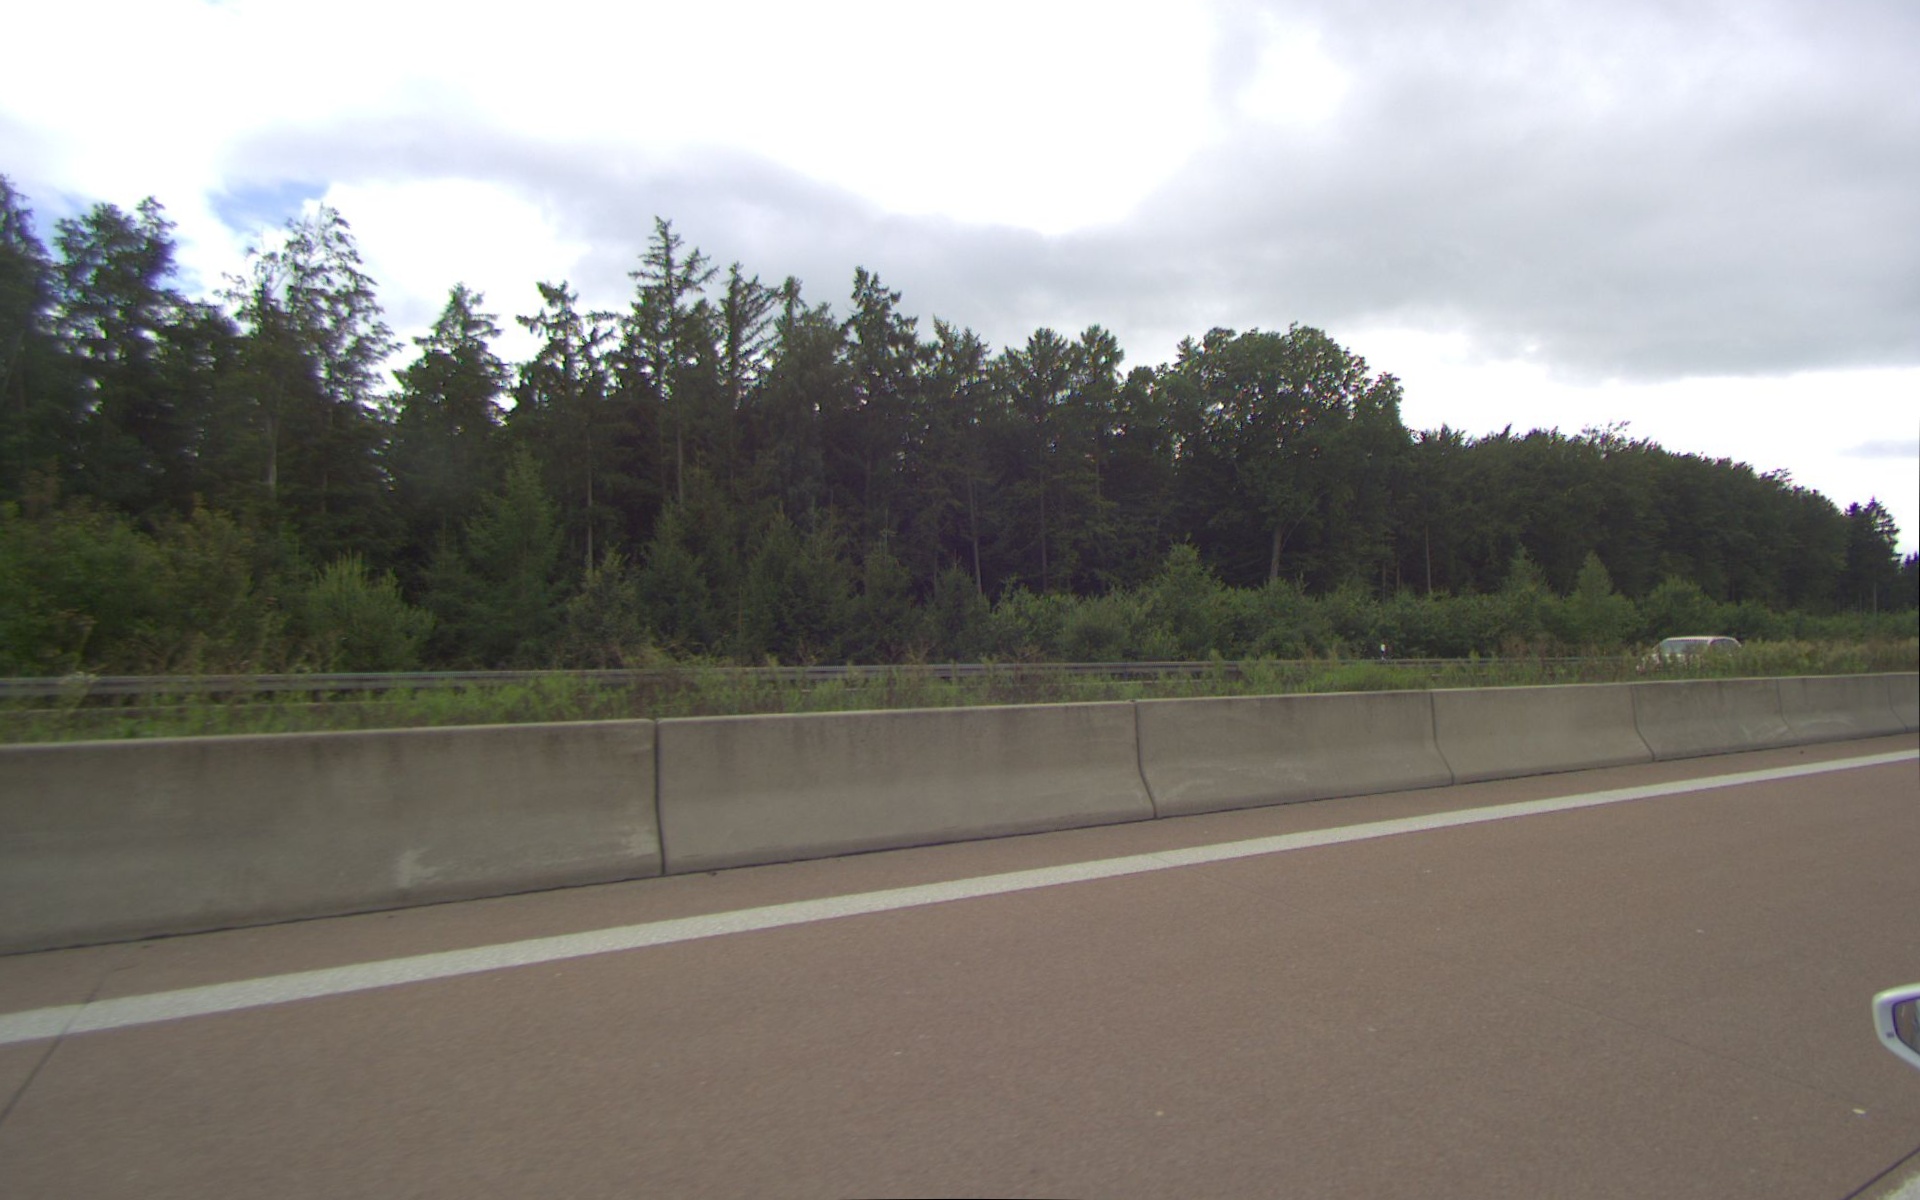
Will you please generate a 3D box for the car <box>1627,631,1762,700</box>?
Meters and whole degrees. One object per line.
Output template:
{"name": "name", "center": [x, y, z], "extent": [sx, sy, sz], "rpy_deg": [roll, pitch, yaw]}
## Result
{"name": "car", "center": [21.179, 1.833, 28.952], "extent": [3.709, 1.796, 1.775], "rpy_deg": [1, 0, -30]}
